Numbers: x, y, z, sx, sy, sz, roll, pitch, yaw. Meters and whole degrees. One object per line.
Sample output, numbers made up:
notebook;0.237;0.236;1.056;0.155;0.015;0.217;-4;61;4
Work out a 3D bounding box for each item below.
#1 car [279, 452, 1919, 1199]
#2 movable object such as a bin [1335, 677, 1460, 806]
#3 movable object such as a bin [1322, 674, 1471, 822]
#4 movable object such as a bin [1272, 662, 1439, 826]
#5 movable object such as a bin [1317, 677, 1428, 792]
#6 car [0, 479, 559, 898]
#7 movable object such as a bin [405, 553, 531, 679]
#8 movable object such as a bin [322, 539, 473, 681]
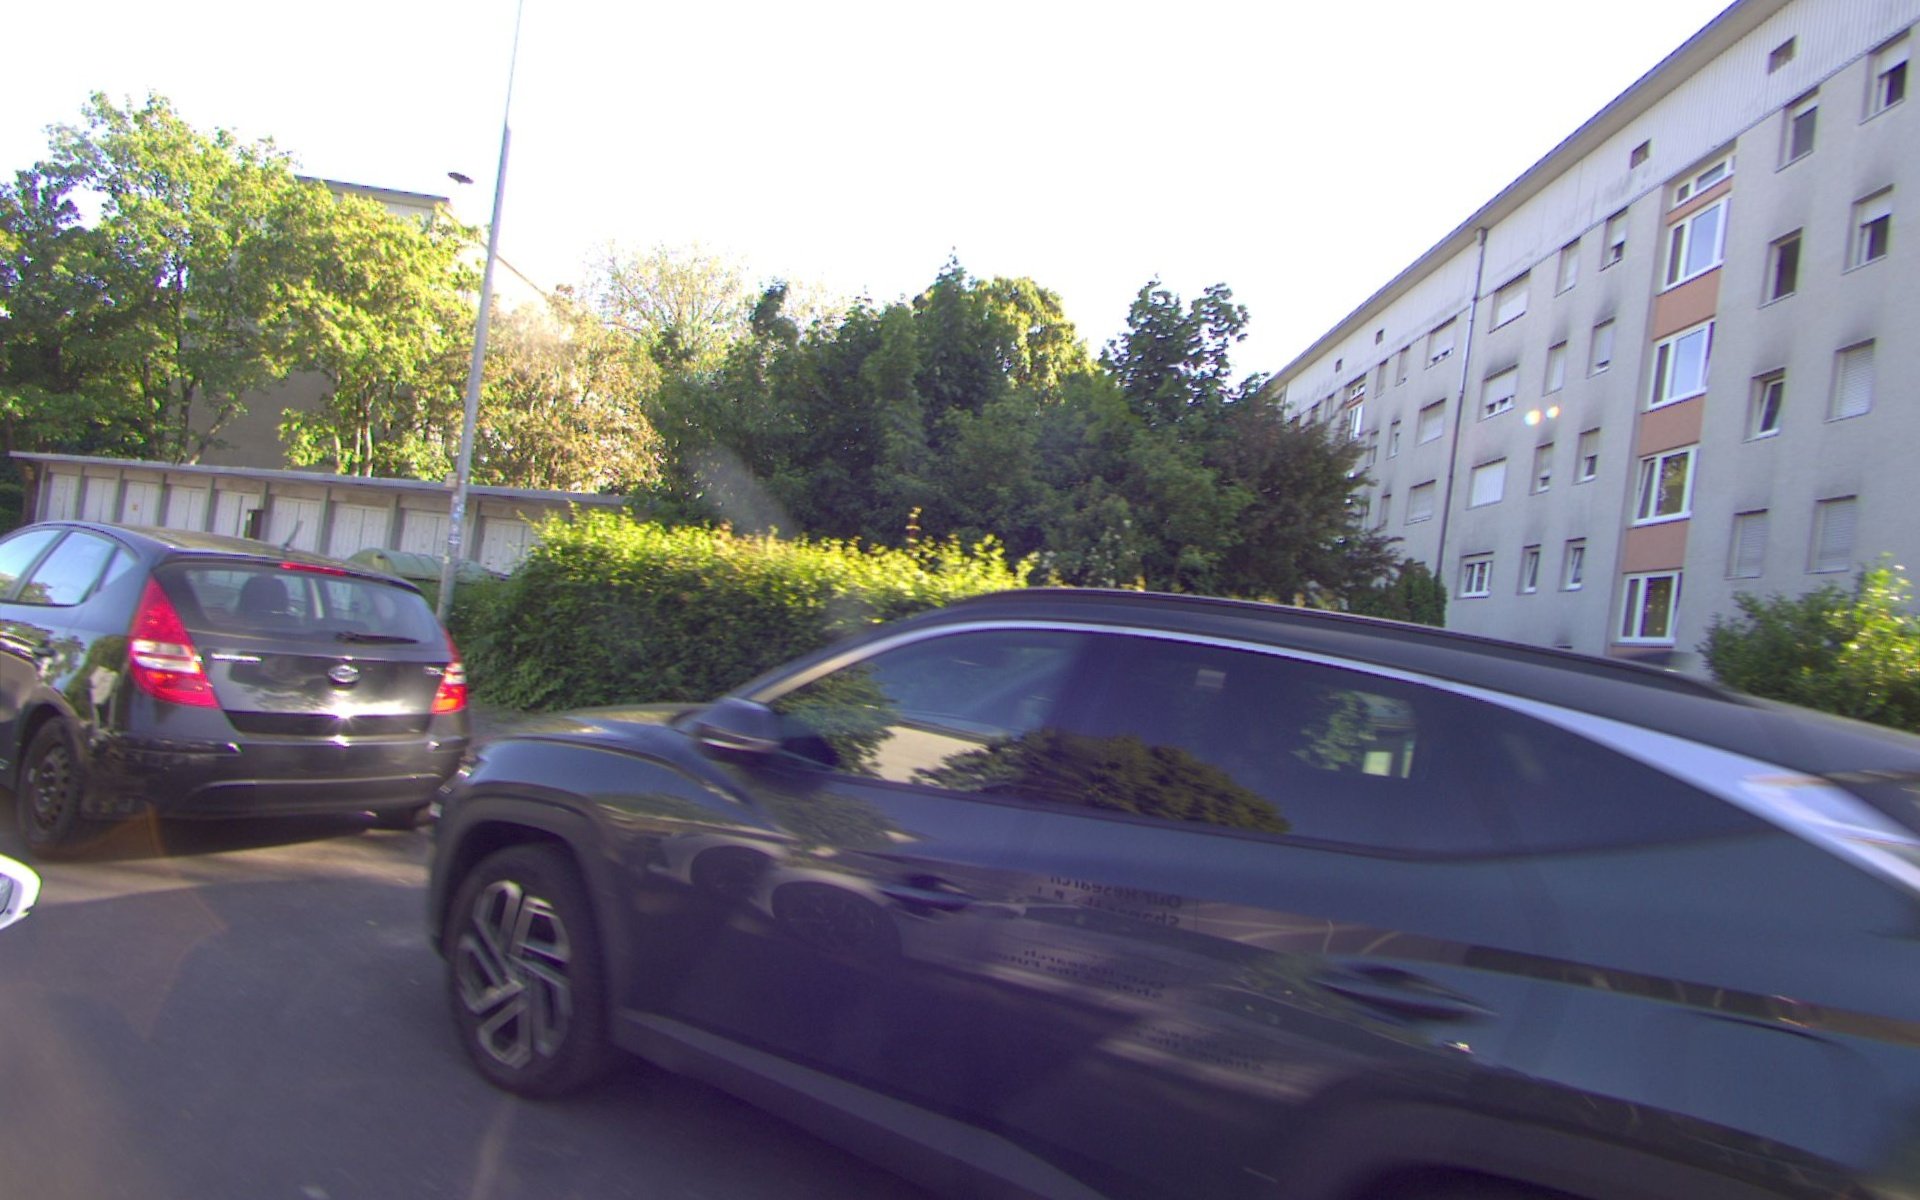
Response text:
car;0.187;0.647;3.092;4.551;1.657;1.913;7;-3;31
movable object such as a bin;5.585;1.781;12.920;1.255;1.368;1.260;7;-2;23
movable object such as a bin;4.929;1.634;11.326;1.257;1.368;1.258;7;-2;31
movable object such as a bin;4.048;1.434;10.241;1.257;1.368;1.258;7;-2;31
movable object such as a bin;5.872;1.897;14.415;1.255;1.368;1.260;7;-2;21
car;-4.570;0.265;5.761;4.256;1.547;1.913;7;-3;31
movable object such as a bin;-6.428;0.220;13.167;1.009;1.470;0.919;7;-1;31
movable object such as a bin;-6.623;0.125;11.855;1.212;1.470;0.919;7;-1;32
